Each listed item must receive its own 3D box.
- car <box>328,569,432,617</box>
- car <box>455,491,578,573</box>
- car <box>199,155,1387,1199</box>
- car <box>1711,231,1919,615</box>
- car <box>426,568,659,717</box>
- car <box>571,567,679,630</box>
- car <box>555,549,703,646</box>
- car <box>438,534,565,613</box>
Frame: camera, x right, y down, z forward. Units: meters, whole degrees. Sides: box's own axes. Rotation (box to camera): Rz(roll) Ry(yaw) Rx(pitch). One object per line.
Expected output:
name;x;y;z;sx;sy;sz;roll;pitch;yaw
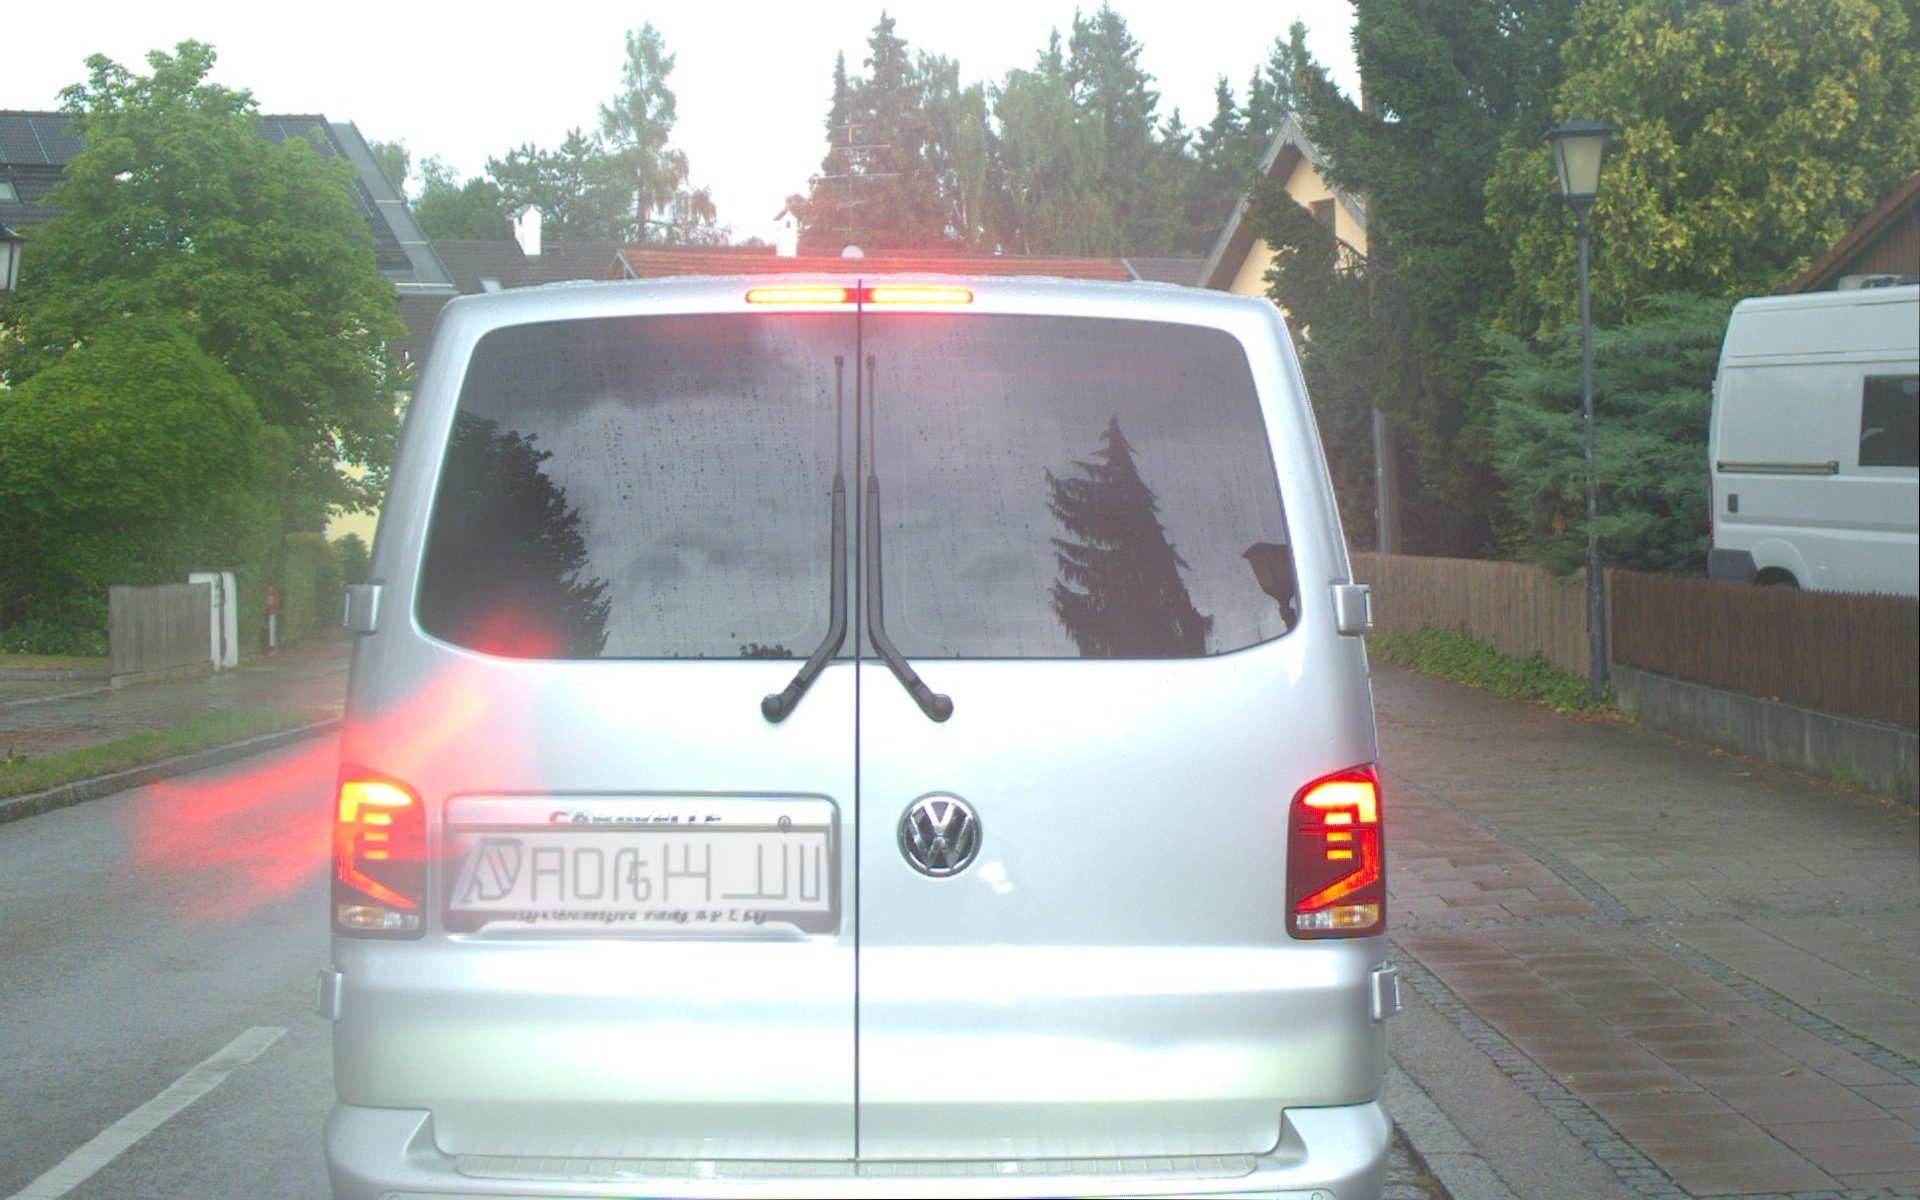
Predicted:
car;-16.589;-0.201;98.199;1.780;1.306;3.776;1;0;-28
car;-11.431;-1.728;88.401;1.993;2.007;4.001;1;0;-25
car;-0.205;0.330;7.305;1.801;2.007;4.000;1;0;2
car;6.359;-0.979;19.696;1.993;2.166;4.954;1;0;-14
car;-3.929;0.380;32.897;1.780;1.306;3.776;1;0;-1
car;-7.384;-0.052;75.574;1.779;1.306;3.777;1;0;-14
car;-4.739;-0.036;49.668;1.780;1.306;3.776;1;0;-1
car;-11.762;-0.679;87.974;1.993;1.920;4.001;1;0;-26
